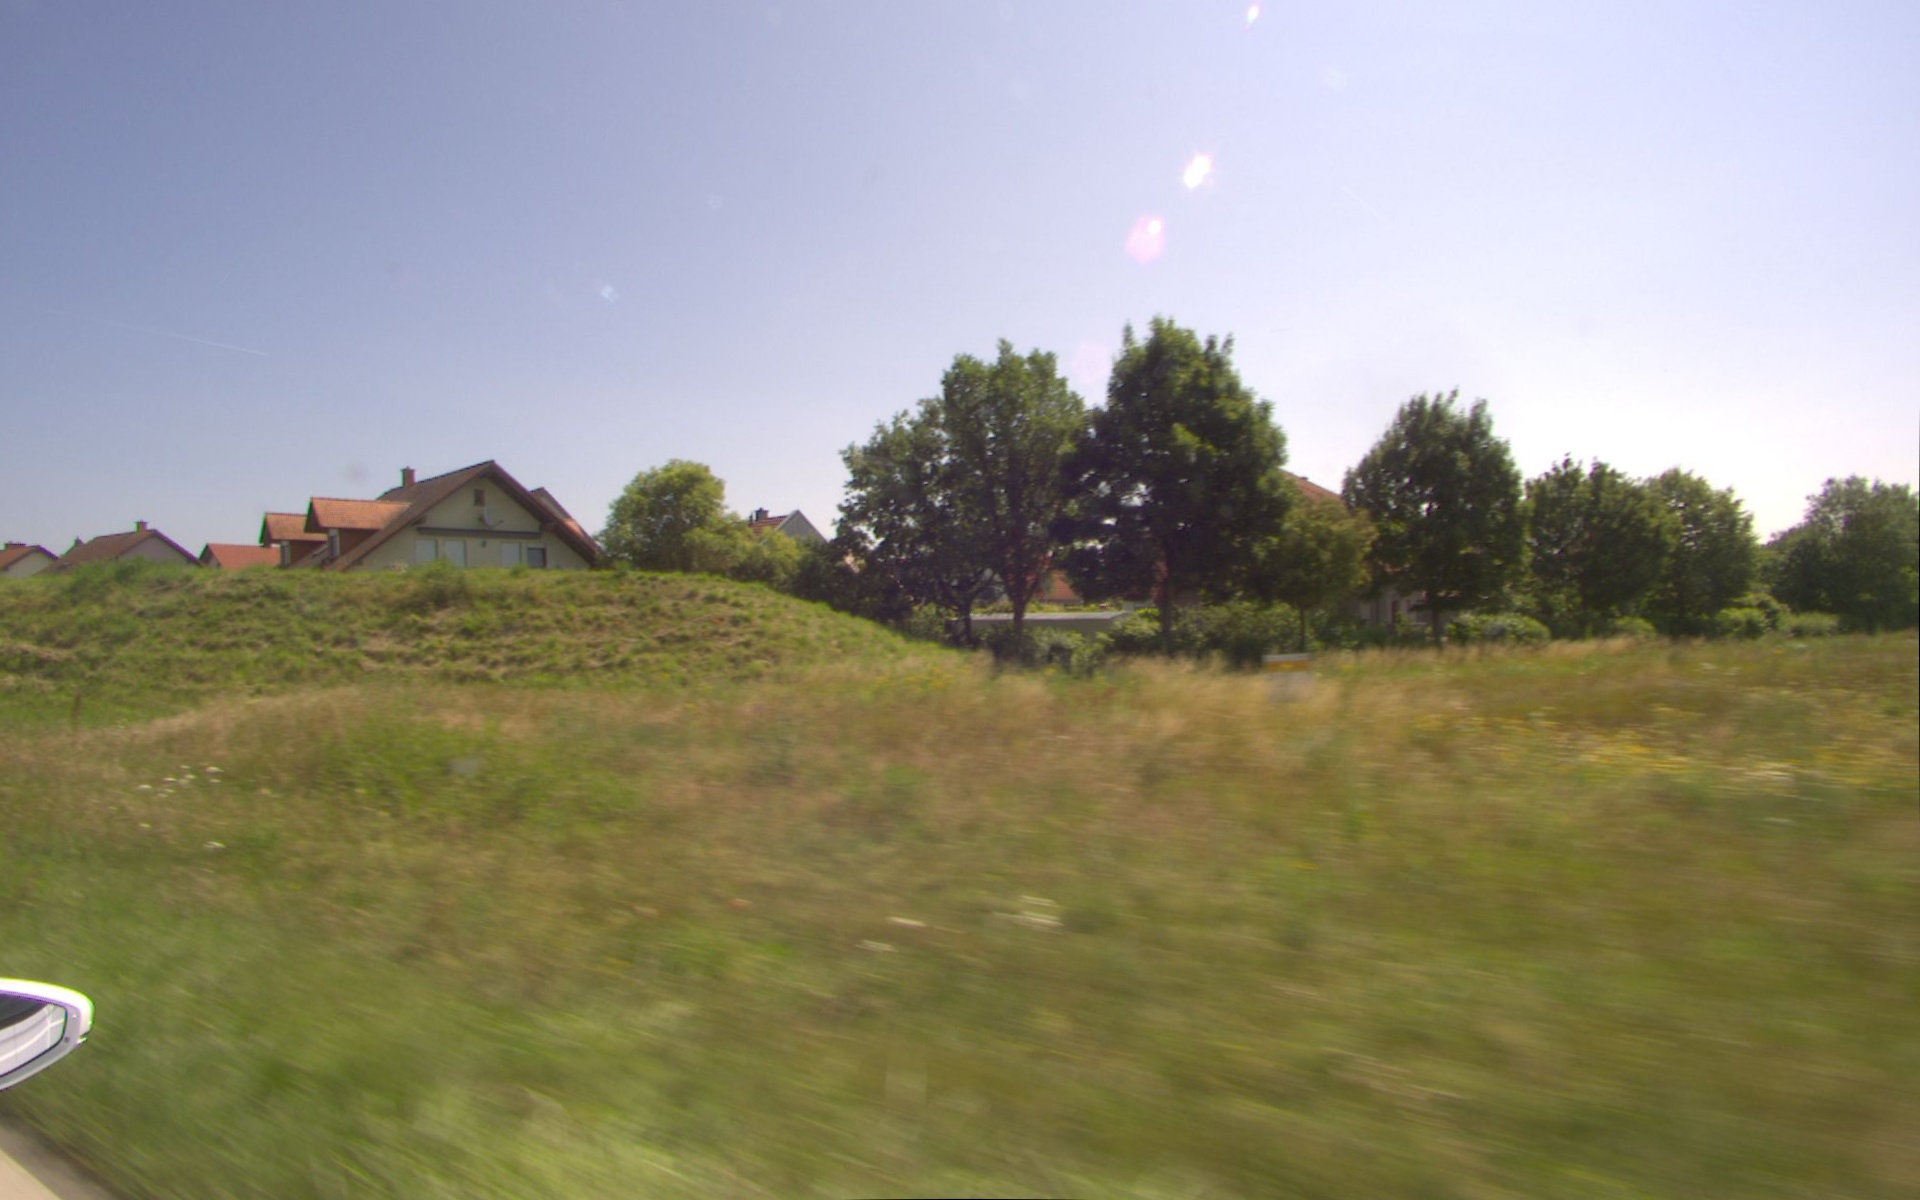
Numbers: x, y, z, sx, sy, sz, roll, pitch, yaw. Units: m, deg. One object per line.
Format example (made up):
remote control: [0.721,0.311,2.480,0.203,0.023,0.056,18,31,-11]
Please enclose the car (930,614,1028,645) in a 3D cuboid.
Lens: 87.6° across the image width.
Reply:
car: [0.844,1.260,43.458,3.947,1.244,1.798,0,0,-34]
